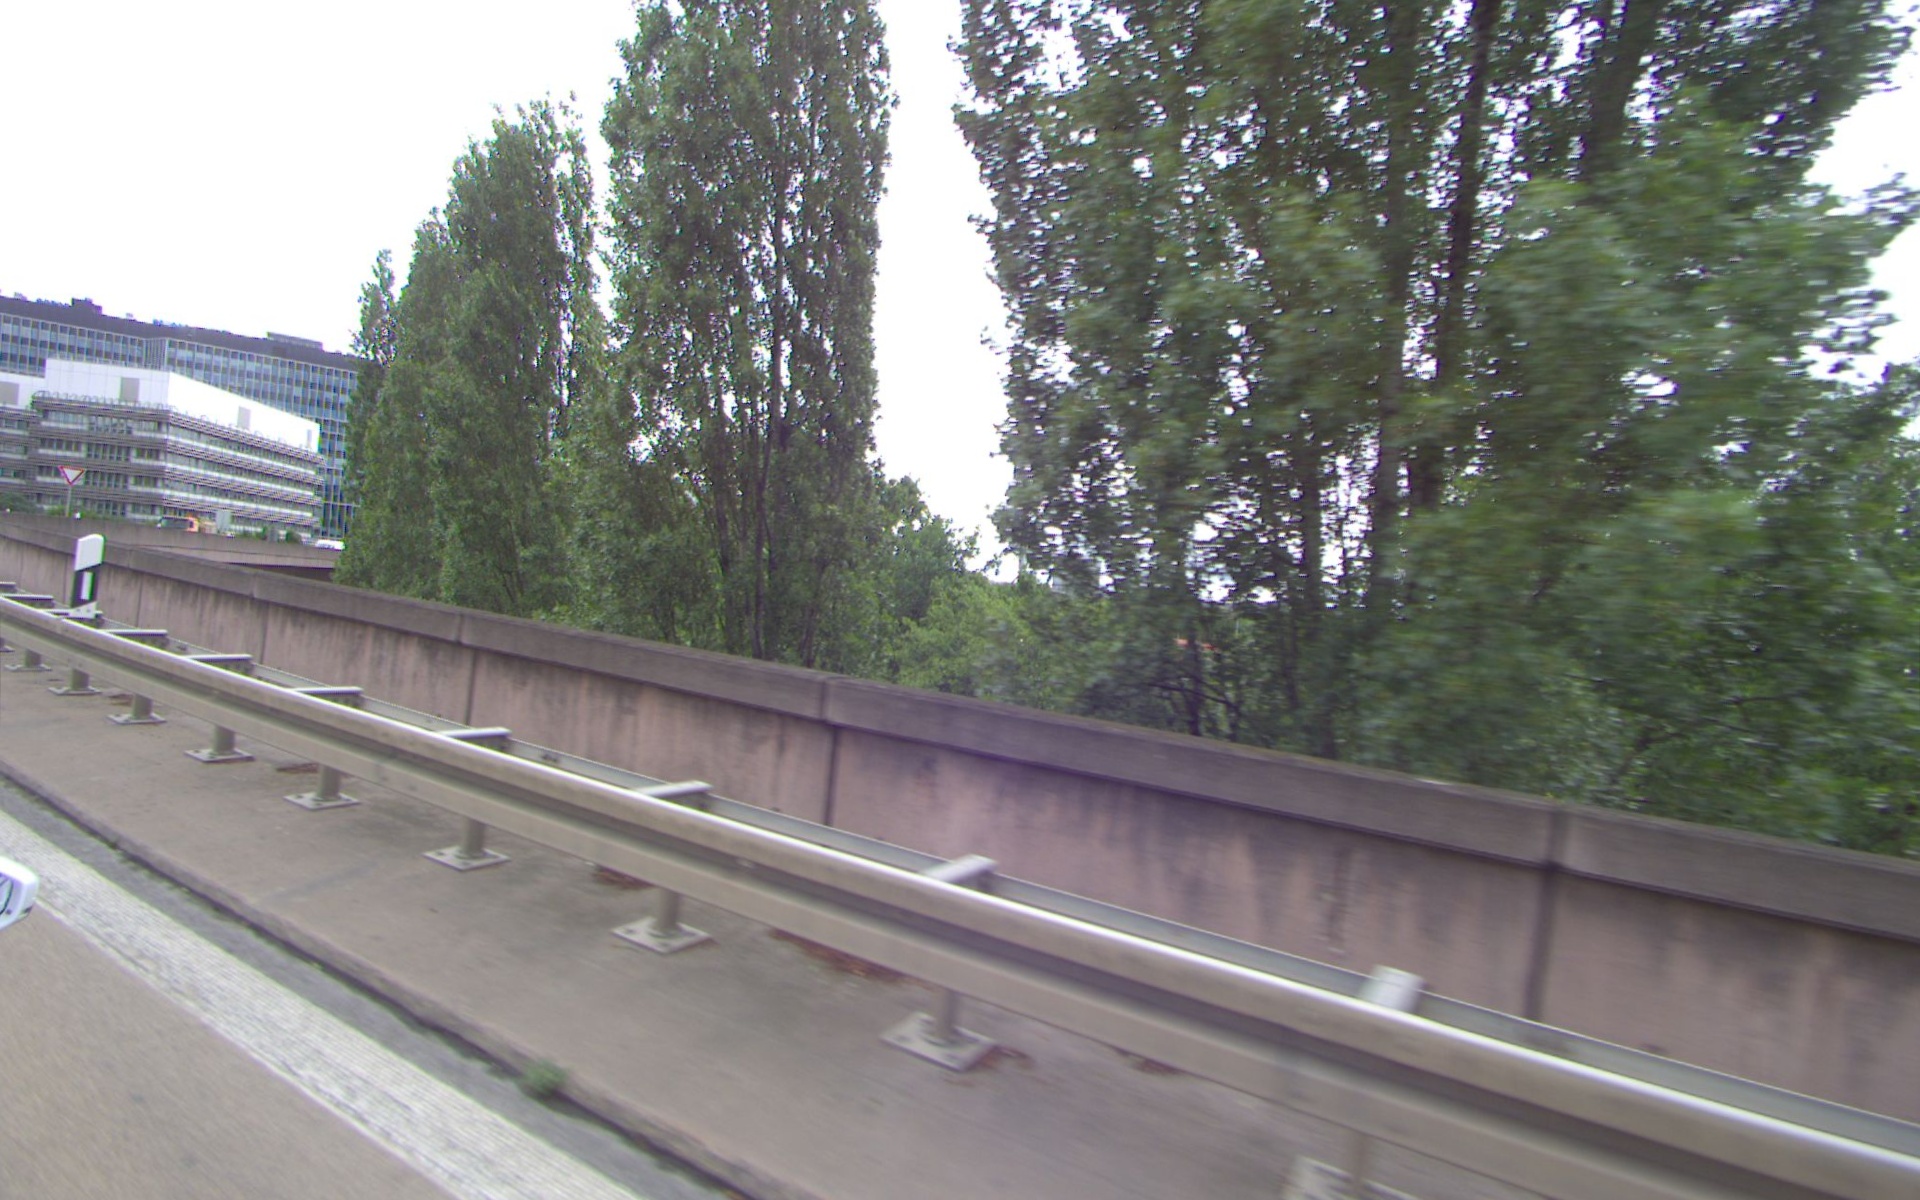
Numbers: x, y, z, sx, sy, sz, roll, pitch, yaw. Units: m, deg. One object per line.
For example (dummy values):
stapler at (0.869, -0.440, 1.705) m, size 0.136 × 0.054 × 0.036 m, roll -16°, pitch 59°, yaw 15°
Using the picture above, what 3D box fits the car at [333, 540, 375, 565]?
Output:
car at (-78.124, -6.078, 129.865) m, size 2.545 × 2.675 × 6.177 m, roll 7°, pitch -1°, yaw -12°

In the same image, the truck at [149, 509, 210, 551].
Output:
truck at (-77.642, -6.910, 100.145) m, size 2.706 × 3.523 × 5.093 m, roll 5°, pitch 0°, yaw -14°

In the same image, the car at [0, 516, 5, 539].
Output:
car at (-67.936, -5.156, 69.104) m, size 1.623 × 1.611 × 3.678 m, roll 5°, pitch -1°, yaw -12°

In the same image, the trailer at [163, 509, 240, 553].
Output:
trailer at (-78.752, -7.056, 104.707) m, size 2.699 × 3.681 × 9.332 m, roll 5°, pitch -1°, yaw -14°
